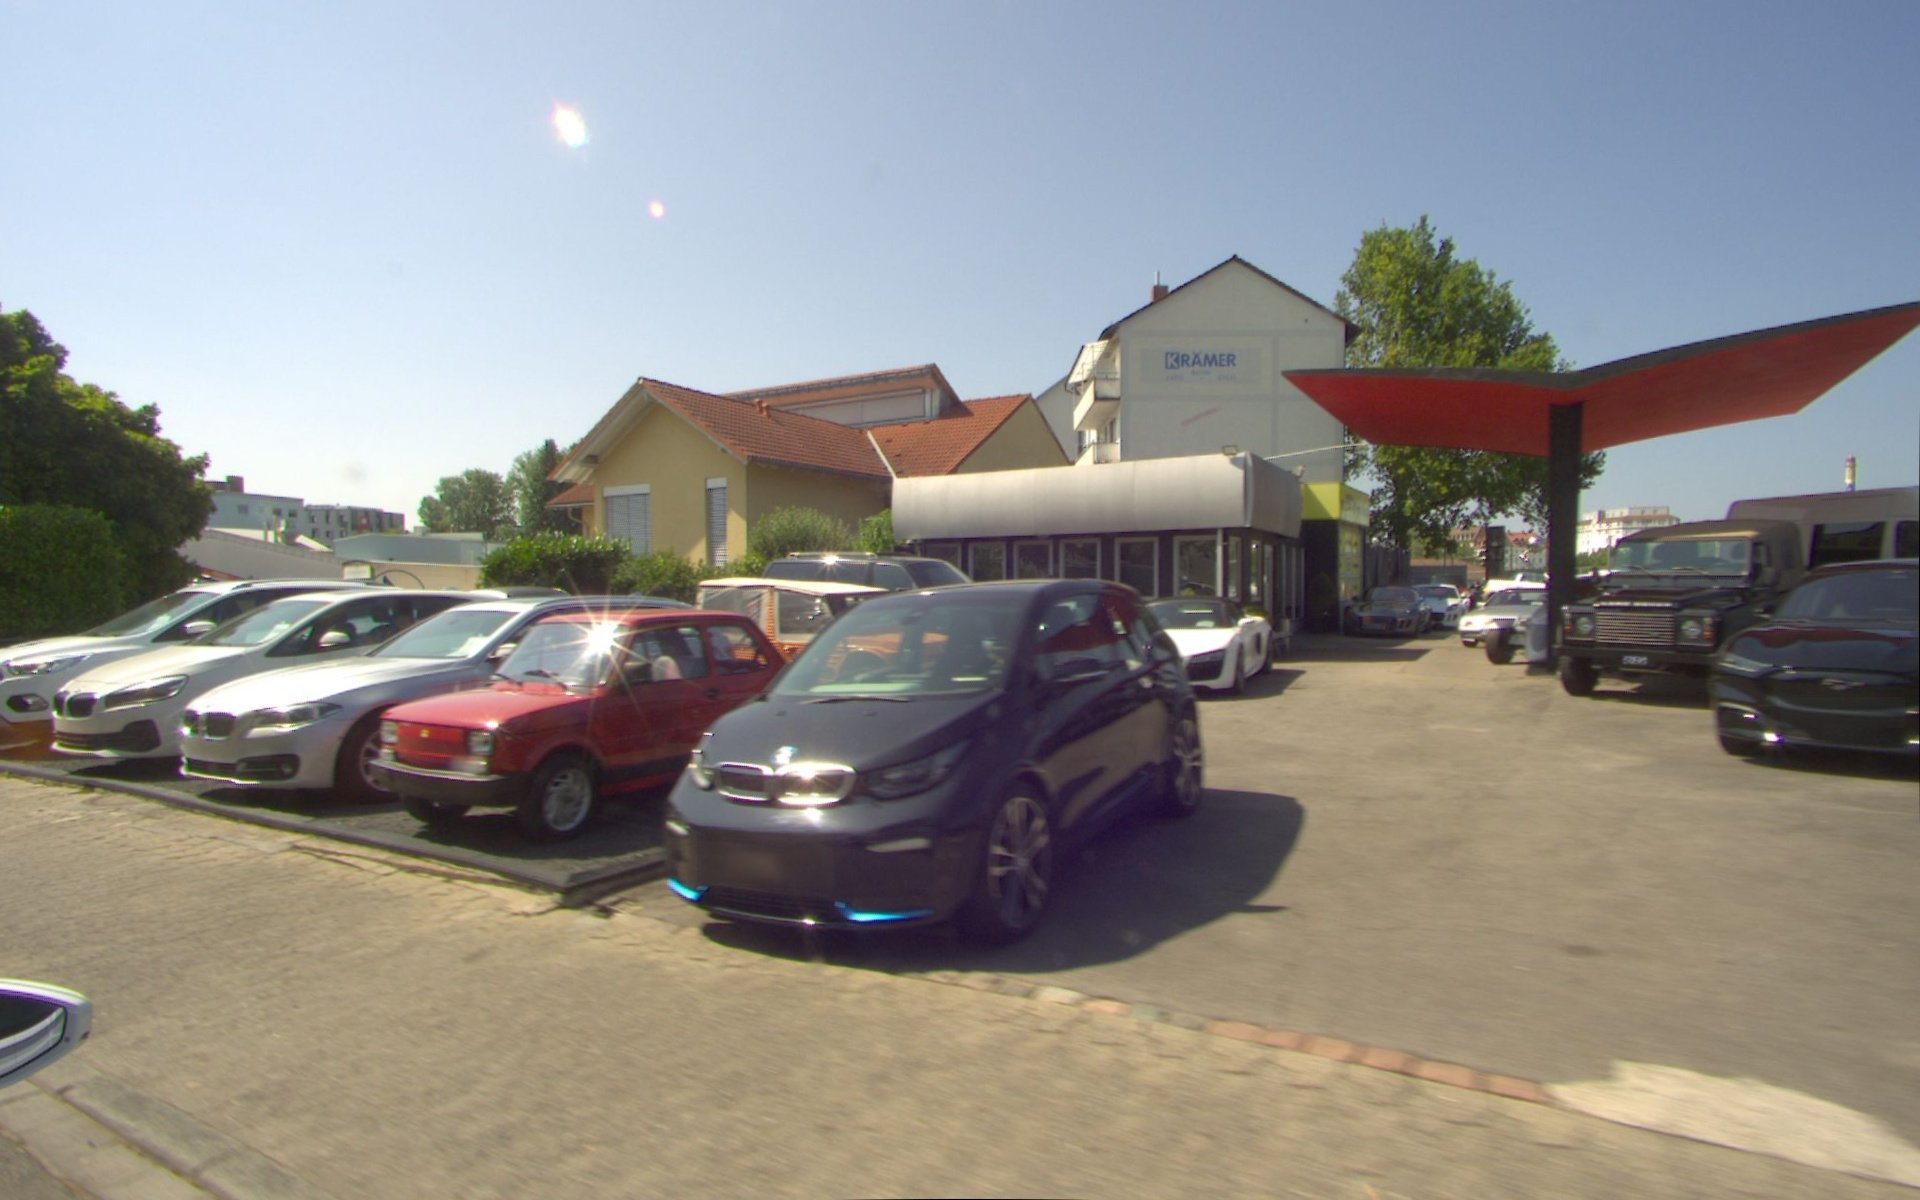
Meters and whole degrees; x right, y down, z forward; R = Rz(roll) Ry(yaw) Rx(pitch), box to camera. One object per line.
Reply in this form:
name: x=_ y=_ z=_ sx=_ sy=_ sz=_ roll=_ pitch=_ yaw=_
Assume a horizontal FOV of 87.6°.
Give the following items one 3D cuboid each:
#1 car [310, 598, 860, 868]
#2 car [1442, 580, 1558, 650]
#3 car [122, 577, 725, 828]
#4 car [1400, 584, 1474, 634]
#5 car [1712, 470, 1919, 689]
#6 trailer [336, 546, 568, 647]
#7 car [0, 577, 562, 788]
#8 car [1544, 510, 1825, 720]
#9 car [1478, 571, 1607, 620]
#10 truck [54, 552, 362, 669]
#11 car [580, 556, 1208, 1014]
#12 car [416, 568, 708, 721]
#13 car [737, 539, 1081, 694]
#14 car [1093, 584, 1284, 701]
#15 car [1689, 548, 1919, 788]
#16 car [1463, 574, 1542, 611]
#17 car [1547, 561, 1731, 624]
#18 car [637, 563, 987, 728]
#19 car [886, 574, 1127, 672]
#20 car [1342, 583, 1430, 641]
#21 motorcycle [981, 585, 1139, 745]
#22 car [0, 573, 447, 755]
car: x=-2.390 y=0.721 z=7.248 sx=1.535 sy=1.353 sz=3.543 roll=-1 pitch=1 yaw=30
car: x=12.564 y=0.286 z=23.158 sx=1.899 sy=1.462 sz=4.305 roll=-1 pitch=1 yaw=35
car: x=-4.276 y=0.647 z=8.877 sx=1.867 sy=1.517 sz=4.399 roll=-1 pitch=2 yaw=26
car: x=14.442 y=0.232 z=30.250 sx=1.731 sy=1.399 sz=3.472 roll=1 pitch=2 yaw=30
car: x=13.148 y=-0.266 z=13.481 sx=2.216 sy=2.714 sz=6.016 roll=-1 pitch=0 yaw=9
trailer: x=-21.392 y=-0.180 z=42.754 sx=3.028 sy=3.915 sz=8.304 roll=0 pitch=1 yaw=36
car: x=-6.526 y=0.629 z=10.243 sx=1.867 sy=1.549 sz=4.399 roll=-1 pitch=2 yaw=26
car: x=9.219 y=0.069 z=12.599 sx=4.526 sy=2.180 sz=1.908 roll=-3 pitch=3 yaw=-41
car: x=20.875 y=-0.171 z=36.011 sx=1.699 sy=1.662 sz=3.709 roll=-1 pitch=1 yaw=-29
truck: x=-26.392 y=0.312 z=35.694 sx=2.912 sy=3.659 sz=8.253 roll=0 pitch=1 yaw=34
car: x=0.015 y=0.638 z=5.666 sx=1.733 sy=1.646 sz=3.796 roll=-1 pitch=1 yaw=30
car: x=-5.650 y=0.602 z=14.175 sx=3.733 sy=1.884 sz=1.990 roll=-2 pitch=-1 yaw=31
car: x=-0.798 y=0.233 z=15.155 sx=4.830 sy=2.041 sz=1.992 roll=-1 pitch=1 yaw=27
car: x=3.444 y=0.494 z=14.448 sx=1.917 sy=1.336 sz=4.114 roll=0 pitch=2 yaw=24
car: x=8.166 y=0.403 z=8.598 sx=4.521 sy=1.658 sz=1.910 roll=-2 pitch=2 yaw=-38
car: x=25.699 y=-0.346 z=47.579 sx=1.962 sy=1.662 sz=3.998 roll=-1 pitch=0 yaw=8
car: x=19.254 y=-0.202 z=28.568 sx=1.699 sy=1.662 sz=4.033 roll=-1 pitch=1 yaw=-29
car: x=-1.870 y=0.494 z=12.493 sx=3.941 sy=1.751 sz=1.990 roll=-1 pitch=1 yaw=31
car: x=0.850 y=0.394 z=18.343 sx=3.936 sy=1.617 sz=1.992 roll=-1 pitch=1 yaw=26
car: x=11.309 y=0.255 z=26.481 sx=1.731 sy=1.399 sz=3.472 roll=1 pitch=2 yaw=30
motorcycle: x=1.146 y=0.591 z=10.597 sx=0.993 sy=1.452 sz=2.684 roll=-1 pitch=1 yaw=21
car: x=-8.543 y=0.567 z=11.549 sx=1.815 sy=1.675 sz=4.397 roll=-1 pitch=1 yaw=29
